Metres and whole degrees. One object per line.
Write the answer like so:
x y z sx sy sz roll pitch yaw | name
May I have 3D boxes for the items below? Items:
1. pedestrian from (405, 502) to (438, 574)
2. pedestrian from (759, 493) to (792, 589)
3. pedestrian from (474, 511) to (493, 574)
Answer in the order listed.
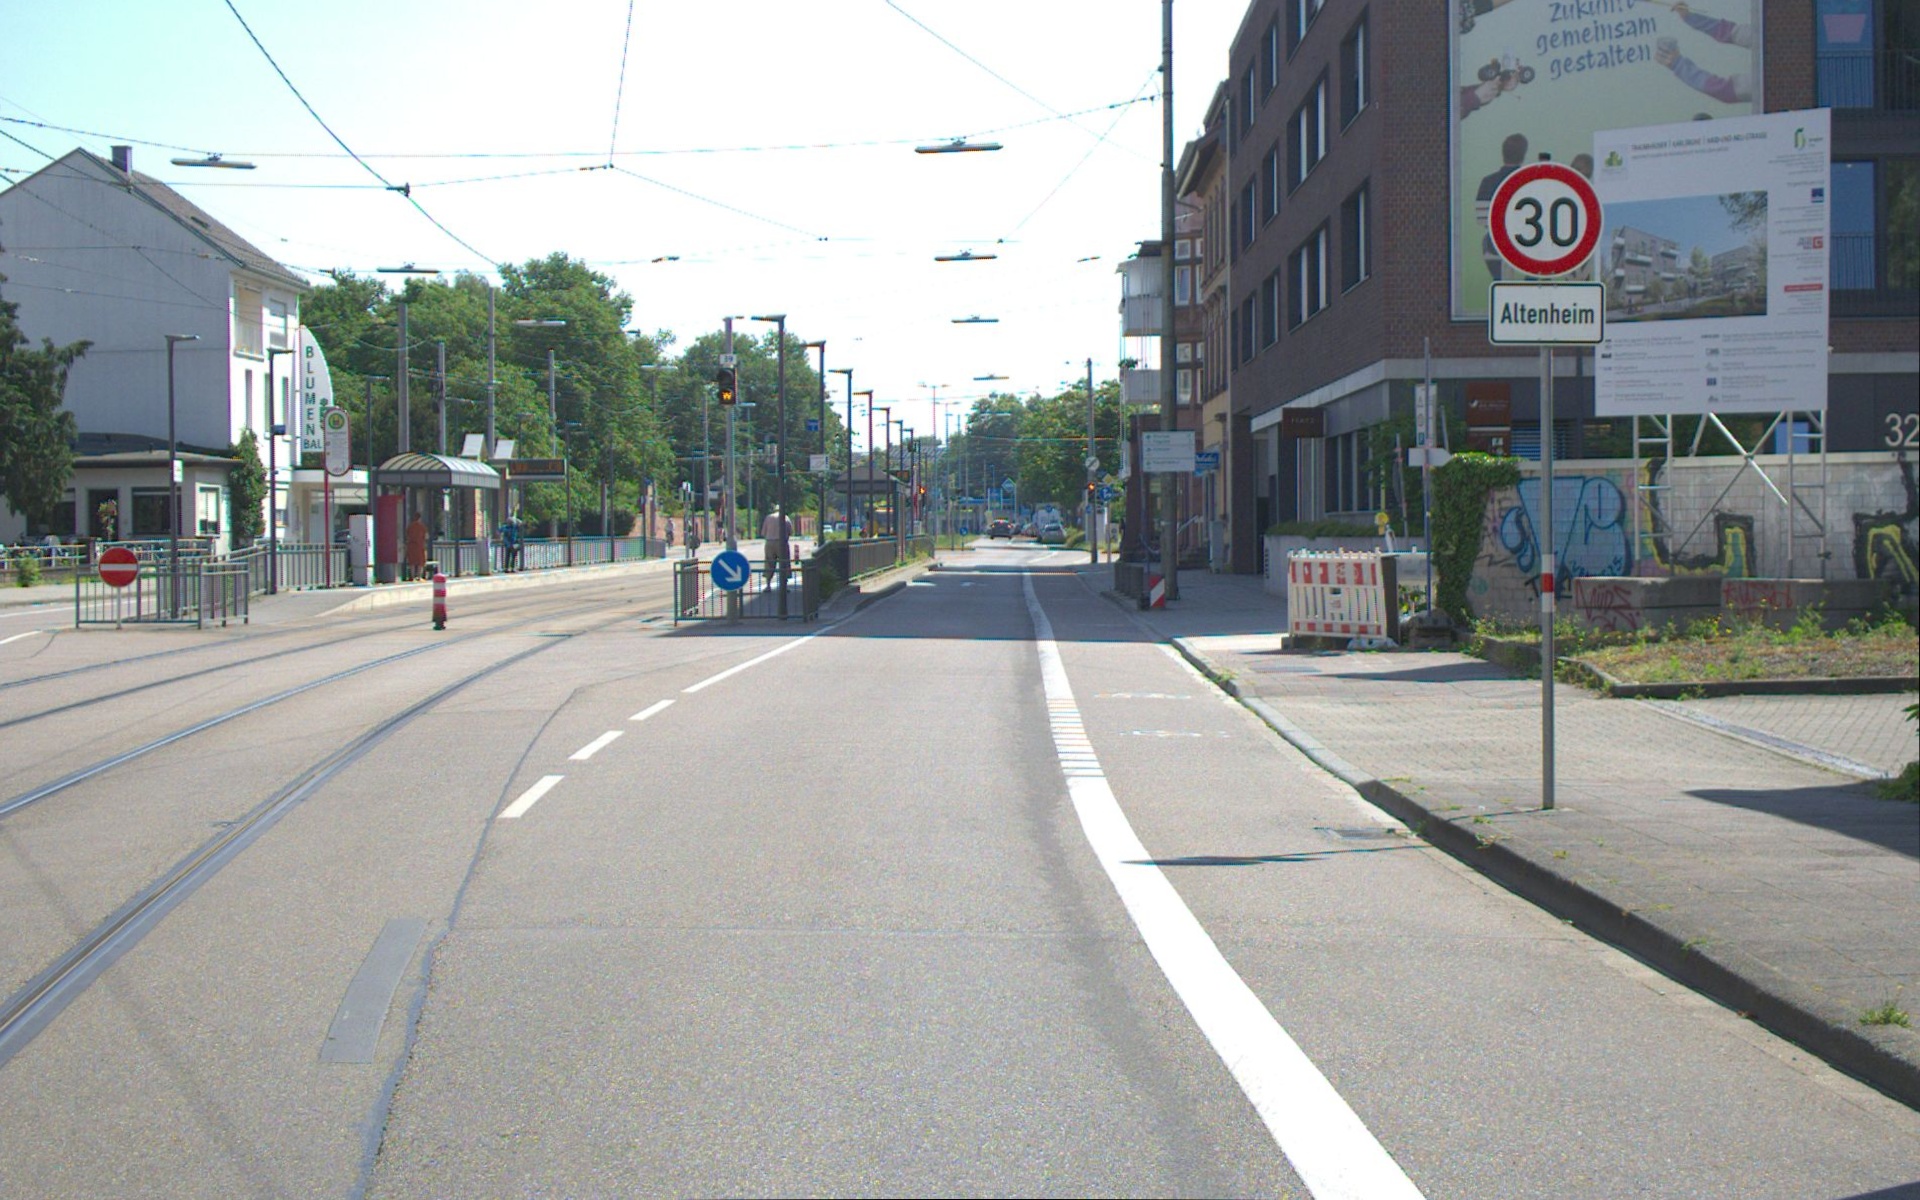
-12.604 -1.459 80.482 0.705 1.684 0.416 -1 1 -6 | pedestrian
-3.407 -1.090 63.580 0.556 1.754 0.794 -1 2 -5 | pedestrian
-12.662 -1.534 91.388 0.415 1.684 0.708 -1 1 -13 | pedestrian
